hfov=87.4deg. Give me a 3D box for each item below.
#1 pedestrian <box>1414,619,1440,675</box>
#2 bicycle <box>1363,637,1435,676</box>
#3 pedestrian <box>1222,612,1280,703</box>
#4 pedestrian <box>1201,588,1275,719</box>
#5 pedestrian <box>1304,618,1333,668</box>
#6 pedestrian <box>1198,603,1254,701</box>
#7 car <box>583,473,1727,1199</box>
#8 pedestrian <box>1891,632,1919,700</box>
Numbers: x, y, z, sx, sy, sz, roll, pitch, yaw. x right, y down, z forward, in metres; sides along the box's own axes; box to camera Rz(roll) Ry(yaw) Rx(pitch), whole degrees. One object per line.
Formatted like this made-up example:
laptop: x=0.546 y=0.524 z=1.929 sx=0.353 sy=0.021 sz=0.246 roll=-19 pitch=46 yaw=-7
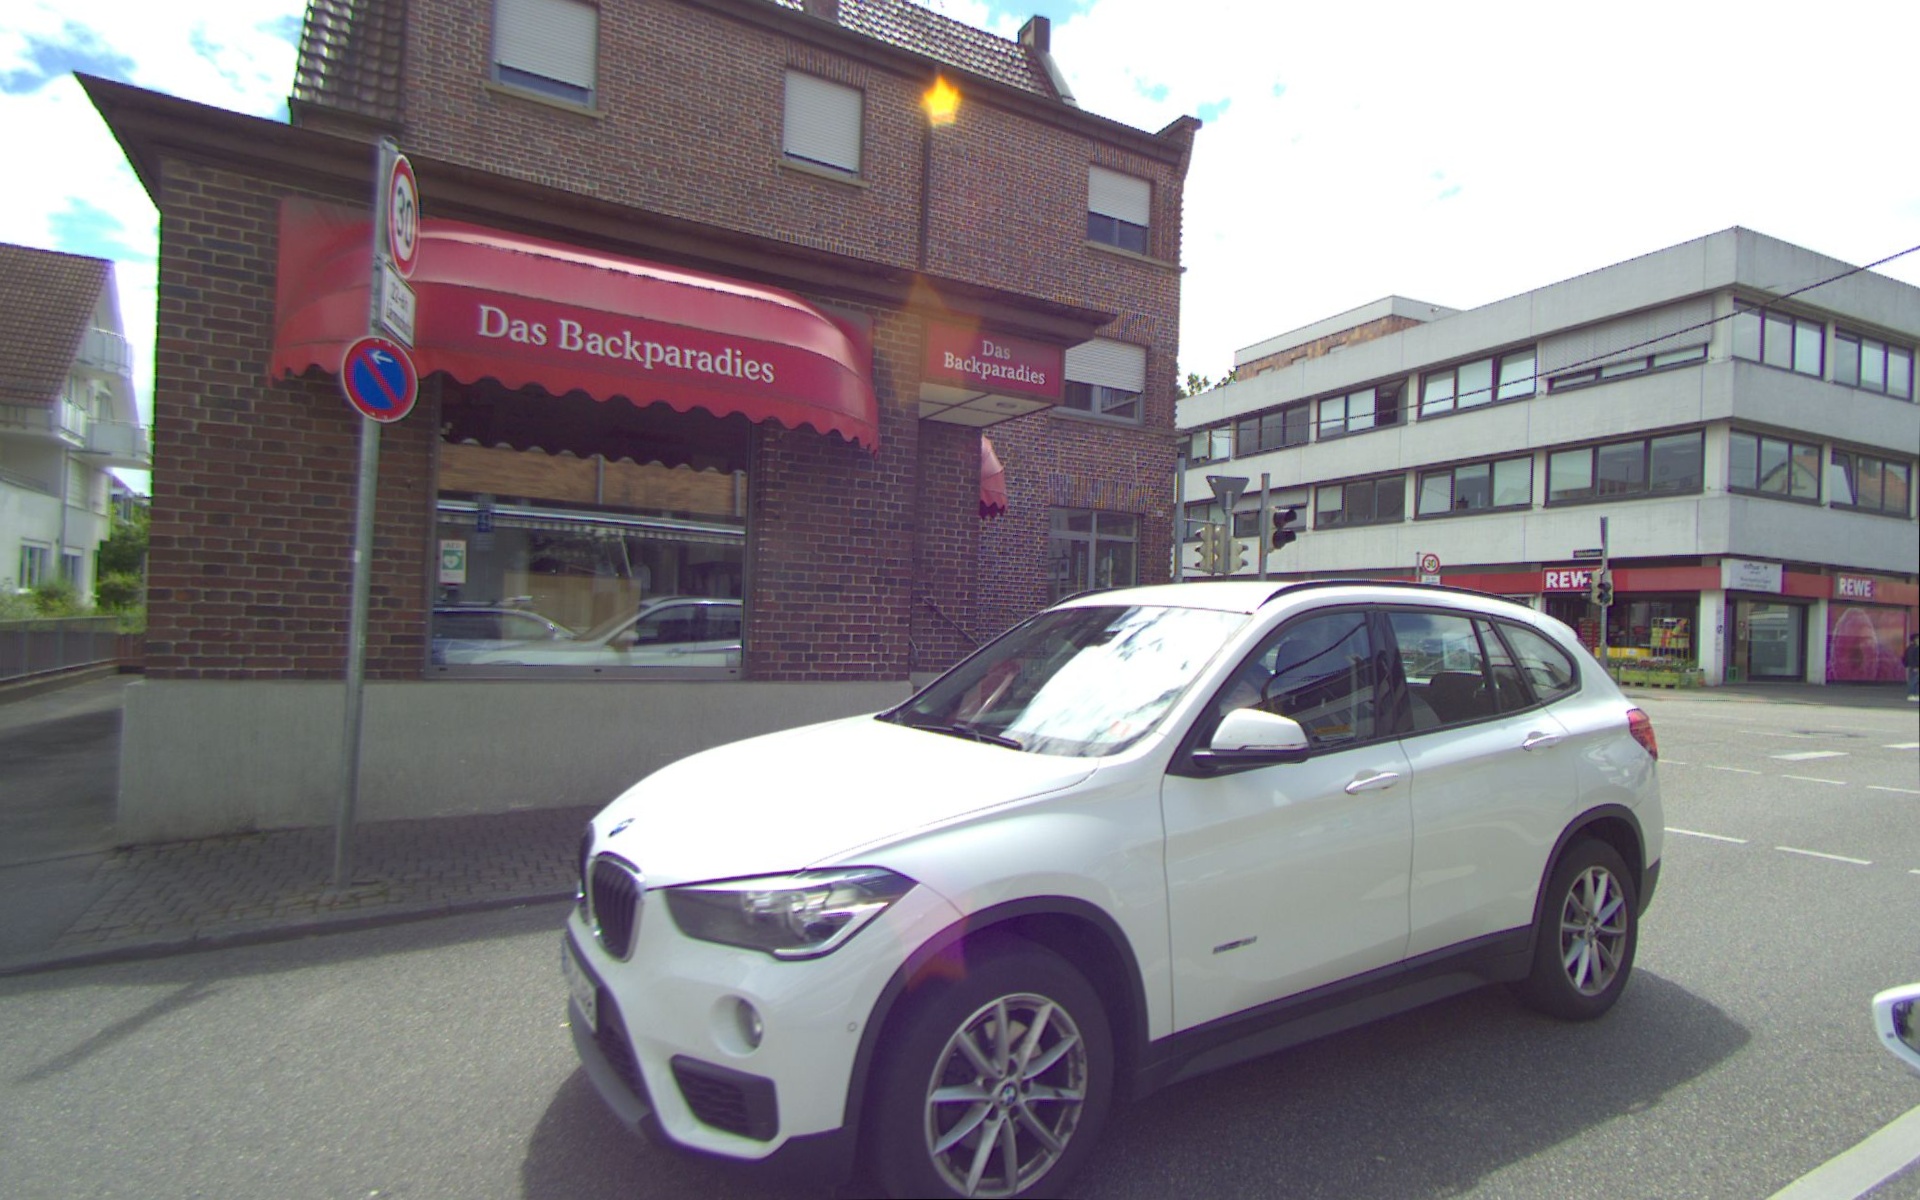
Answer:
pedestrian: x=15.335 y=1.546 z=32.961 sx=0.612 sy=1.799 sz=0.554 roll=3 pitch=-1 yaw=36
bicycle: x=13.277 y=1.701 z=30.422 sx=0.769 sy=1.157 sz=1.867 roll=3 pitch=-3 yaw=-39
pedestrian: x=5.017 y=0.988 z=17.307 sx=0.753 sy=1.504 sz=0.521 roll=4 pitch=-1 yaw=-32
pedestrian: x=3.994 y=0.764 z=14.432 sx=0.712 sy=1.820 sz=0.622 roll=4 pitch=-1 yaw=-32
pedestrian: x=12.163 y=1.459 z=34.076 sx=0.712 sy=1.618 sz=0.694 roll=3 pitch=-1 yaw=34
pedestrian: x=4.699 y=0.919 z=17.755 sx=0.753 sy=1.680 sz=0.521 roll=4 pitch=-1 yaw=-32
car: x=0.937 y=0.670 z=3.814 sx=4.173 sy=1.661 sz=1.771 roll=2 pitch=-2 yaw=-32
pedestrian: x=23.850 y=1.642 z=25.152 sx=0.652 sy=1.663 sz=0.616 roll=2 pitch=-1 yaw=-28
